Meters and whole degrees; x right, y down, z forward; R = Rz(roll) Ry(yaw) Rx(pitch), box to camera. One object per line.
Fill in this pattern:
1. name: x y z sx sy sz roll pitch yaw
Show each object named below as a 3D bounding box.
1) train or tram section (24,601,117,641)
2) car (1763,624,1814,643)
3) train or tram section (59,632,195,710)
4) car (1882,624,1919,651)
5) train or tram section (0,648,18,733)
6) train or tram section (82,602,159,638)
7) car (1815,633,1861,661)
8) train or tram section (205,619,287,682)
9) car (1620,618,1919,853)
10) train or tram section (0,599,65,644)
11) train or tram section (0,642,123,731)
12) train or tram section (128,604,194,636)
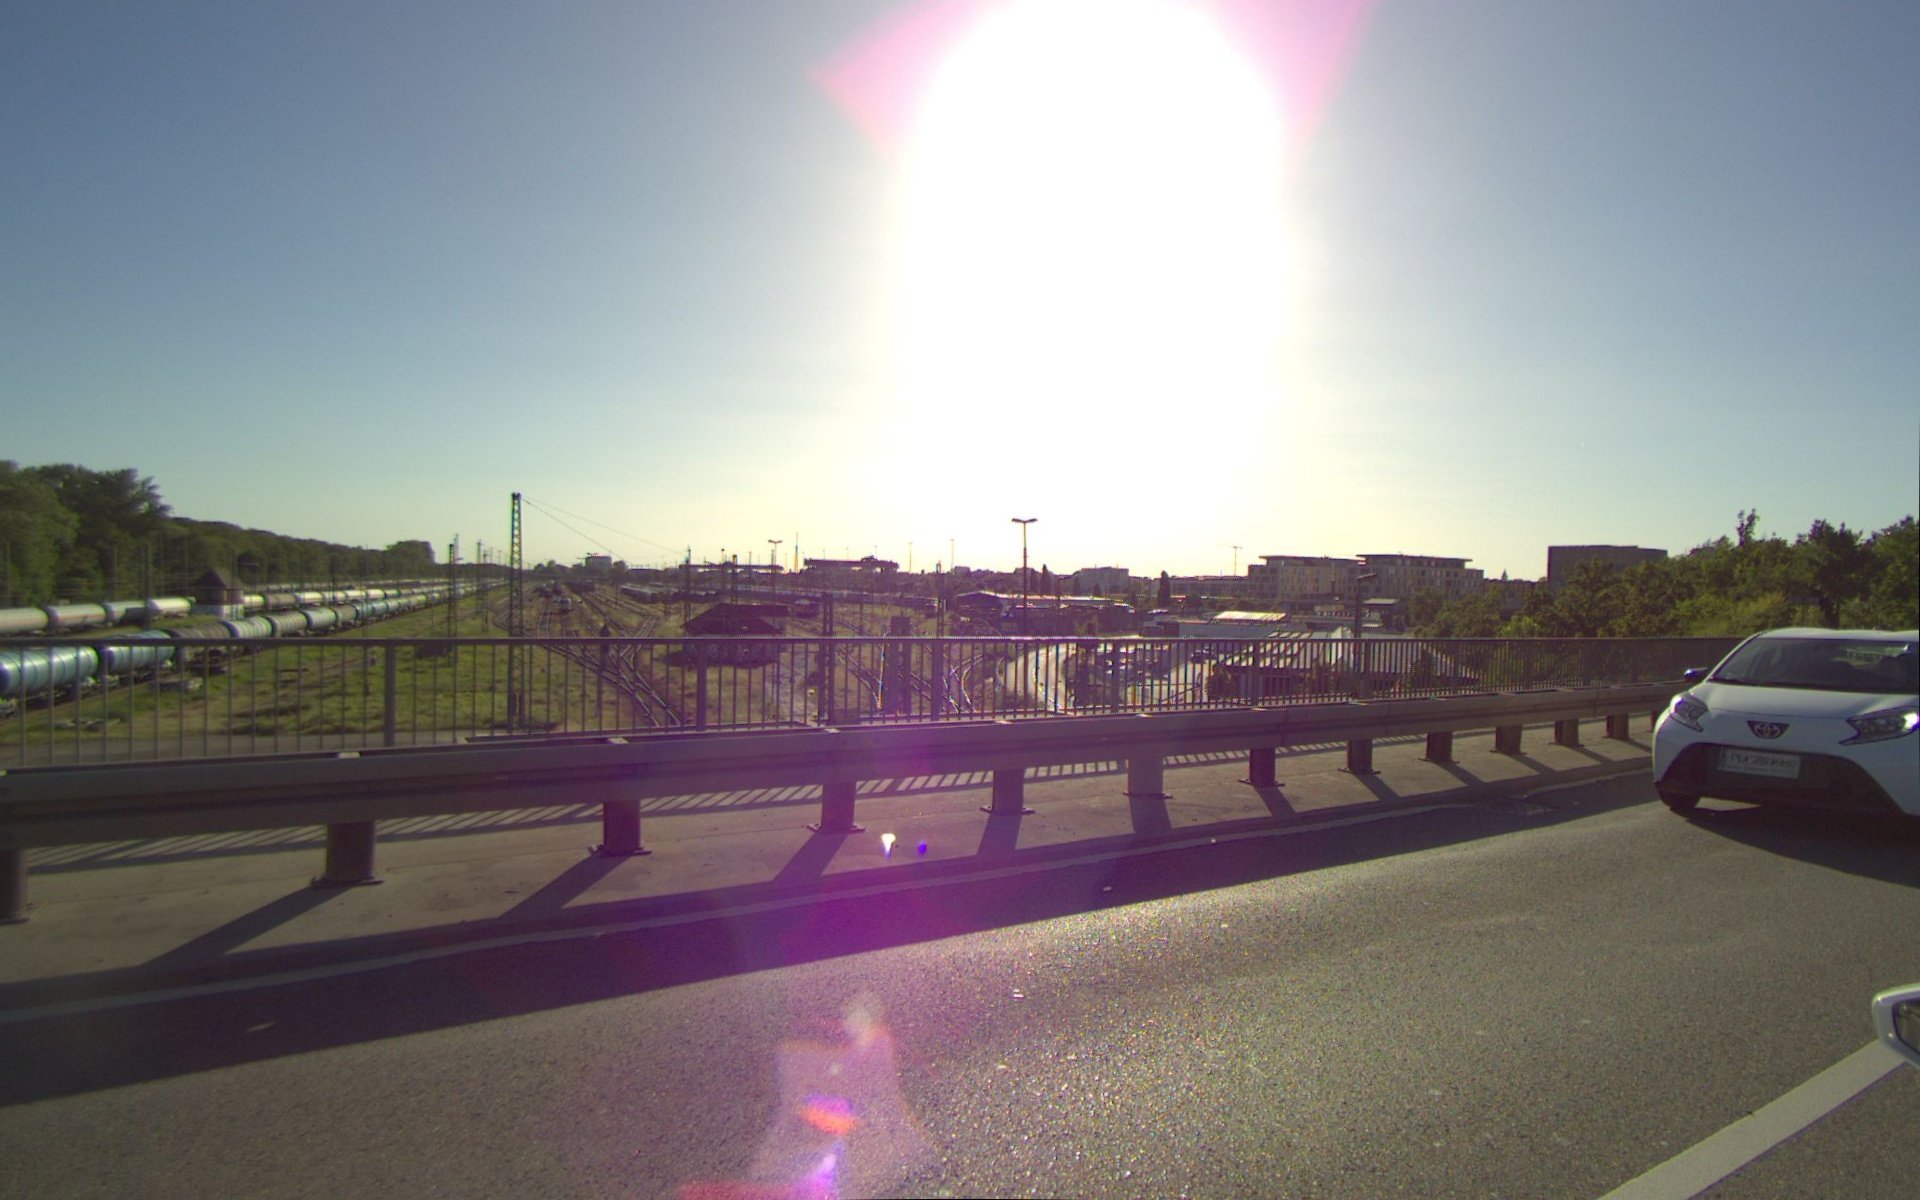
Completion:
1. train or tram section: -121.892 2.794 138.111 3.991 5.153 17.770 1 -1 -23
2. car: 68.933 2.769 83.673 1.804 1.576 3.895 0 -1 15
3. train or tram section: -69.716 5.669 84.747 3.849 5.592 16.420 1 -1 -22
4. car: 59.890 2.340 63.216 1.831 1.606 3.908 0 -1 28
5. train or tram section: -57.593 5.403 54.282 3.849 5.083 16.582 1 -1 -22
6. train or tram section: -128.767 3.038 154.496 3.991 5.153 17.770 1 -1 -23
7. car: 57.686 3.059 66.041 1.873 1.664 4.448 0 -1 36
8. train or tram section: -82.010 5.593 115.820 3.849 6.699 16.420 1 -1 -22
9. car: 7.335 0.943 8.462 3.734 1.539 1.824 1 -1 -37
10. train or tram section: -114.969 2.558 121.734 3.991 5.153 17.770 1 -1 -23
11. train or tram section: -63.658 5.698 69.555 3.849 5.083 16.283 1 -1 -22
12. train or tram section: -135.688 3.332 170.940 3.991 5.153 17.770 1 -1 -23
